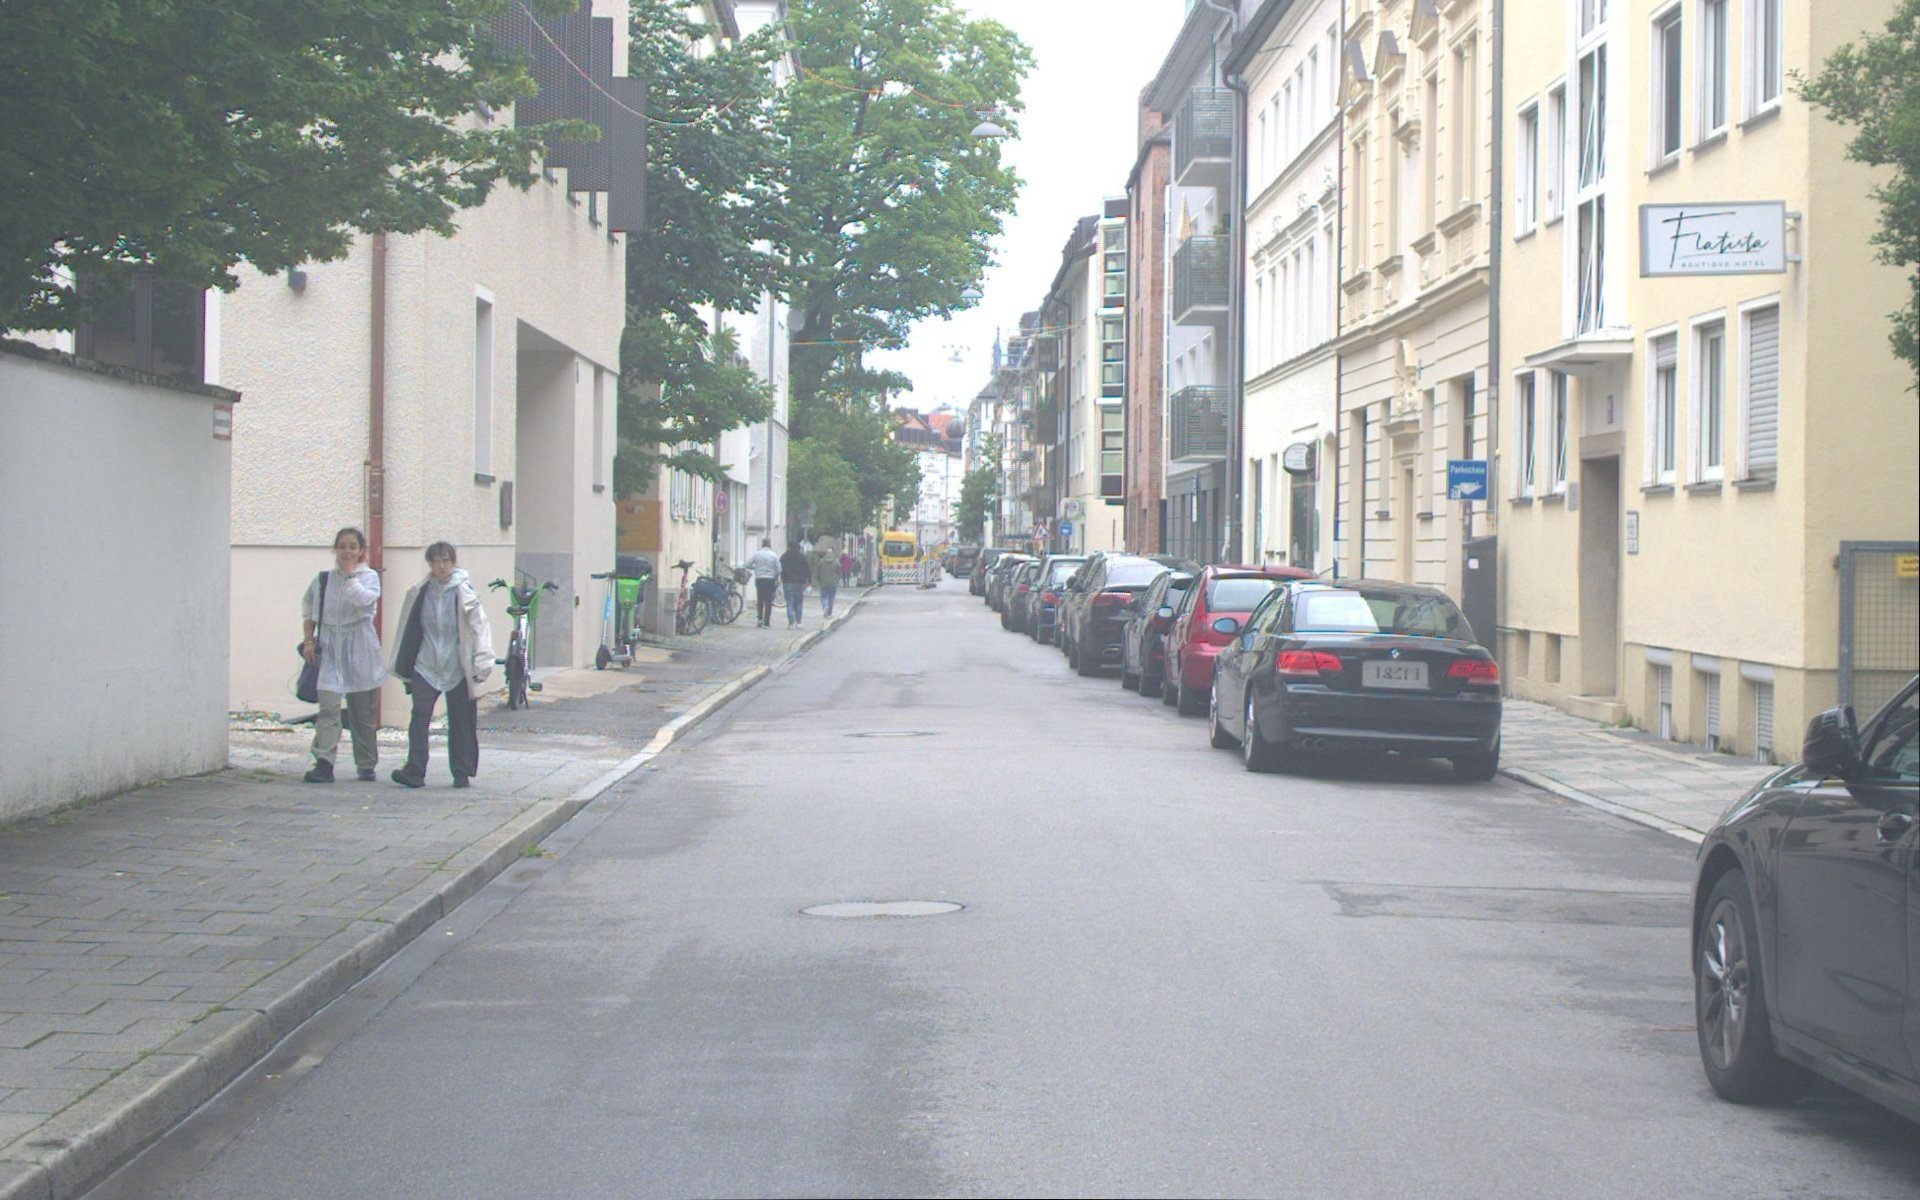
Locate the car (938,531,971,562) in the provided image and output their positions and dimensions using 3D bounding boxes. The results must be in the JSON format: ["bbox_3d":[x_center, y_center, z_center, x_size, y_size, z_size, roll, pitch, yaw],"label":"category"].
[{"bbox_3d":[-0.350,-3.287,210.872,1.801,1.706,3.827,4,1,-2],"label":"car"}]

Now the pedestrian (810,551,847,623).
[{"bbox_3d":[-3.087,-0.309,80.827,0.753,1.653,0.906,2,0,0],"label":"pedestrian"}]

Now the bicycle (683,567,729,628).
[{"bbox_3d":[-4.431,-0.055,59.921,0.703,0.981,1.823,5,0,-5],"label":"bicycle"}]

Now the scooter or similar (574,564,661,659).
[{"bbox_3d":[-4.253,0.145,42.789,0.552,1.140,1.357,3,1,16],"label":"scooter or similar"}]

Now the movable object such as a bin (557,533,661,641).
[{"bbox_3d":[-5.125,-0.202,50.265,1.174,1.437,1.248,6,2,5],"label":"movable object such as a bin"}]

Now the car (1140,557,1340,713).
[{"bbox_3d":[2.822,0.316,35.334,1.676,1.487,3.854,1,1,-1],"label":"car"}]

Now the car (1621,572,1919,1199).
[{"bbox_3d":[3.037,0.734,8.156,1.841,1.423,4.264,4,1,-3],"label":"car"}]

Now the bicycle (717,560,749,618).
[{"bbox_3d":[-4.609,-0.220,69.778,0.561,1.155,1.721,1,0,-6],"label":"bicycle"}]

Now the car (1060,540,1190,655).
[{"bbox_3d":[2.460,-0.070,52.178,1.676,1.655,4.513,1,1,-1],"label":"car"}]

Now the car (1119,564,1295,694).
[{"bbox_3d":[2.808,0.299,39.779,1.676,1.388,4.066,1,1,-1],"label":"car"}]

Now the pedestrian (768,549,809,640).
[{"bbox_3d":[-3.362,-0.112,67.467,0.718,1.759,0.838,2,0,0],"label":"pedestrian"}]

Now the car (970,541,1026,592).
[{"bbox_3d":[1.460,-1.297,133.009,1.801,1.814,4.001,4,1,-3],"label":"car"}]

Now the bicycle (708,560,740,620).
[{"bbox_3d":[-4.668,-0.208,68.062,0.458,1.155,1.605,3,0,0],"label":"bicycle"}]

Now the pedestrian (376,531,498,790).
[{"bbox_3d":[-3.269,0.371,21.543,0.622,1.573,0.714,2,0,-1],"label":"pedestrian"}]

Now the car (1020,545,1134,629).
[{"bbox_3d":[2.245,-0.273,66.777,1.875,1.565,4.317,-1,1,-2],"label":"car"}]

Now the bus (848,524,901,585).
[{"bbox_3d":[-4.418,-2.338,178.872,2.593,3.091,6.306,0,0,0],"label":"bus"}]

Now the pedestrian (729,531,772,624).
[{"bbox_3d":[-4.100,-0.439,67.365,0.718,1.790,0.917,2,0,0],"label":"pedestrian"}]

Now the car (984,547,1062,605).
[{"bbox_3d":[1.750,-0.685,96.456,1.885,1.550,4.392,1,1,-3],"label":"car"}]

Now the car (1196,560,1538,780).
[{"bbox_3d":[2.910,0.449,25.497,1.825,1.330,4.509,4,1,-1],"label":"car"}]

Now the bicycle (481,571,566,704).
[{"bbox_3d":[-3.954,0.322,31.214,0.537,1.135,1.917,2,1,-1],"label":"bicycle"}]

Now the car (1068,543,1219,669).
[{"bbox_3d":[2.428,0.036,46.445,1.702,1.601,4.685,1,1,-1],"label":"car"}]

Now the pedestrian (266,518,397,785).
[{"bbox_3d":[-3.930,0.312,21.528,0.613,1.615,0.687,3,0,0],"label":"pedestrian"}]

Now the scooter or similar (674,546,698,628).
[{"bbox_3d":[-4.641,-0.227,58.186,0.317,1.371,1.239,0,0,-1],"label":"scooter or similar"}]

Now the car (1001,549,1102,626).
[{"bbox_3d":[1.871,-0.283,71.662,1.839,1.523,4.293,1,1,-2],"label":"car"}]

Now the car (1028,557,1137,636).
[{"bbox_3d":[2.172,-0.080,61.859,1.808,1.358,3.945,0,1,0],"label":"car"}]

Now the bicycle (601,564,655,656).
[{"bbox_3d":[-4.324,0.116,44.854,0.544,1.157,1.882,2,1,-2],"label":"bicycle"}]

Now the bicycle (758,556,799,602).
[{"bbox_3d":[-4.906,-0.566,92.742,0.641,1.213,1.665,0,0,-19],"label":"bicycle"}]

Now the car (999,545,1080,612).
[{"bbox_3d":[1.904,-0.541,83.607,1.775,1.550,4.000,1,1,-1],"label":"car"}]
